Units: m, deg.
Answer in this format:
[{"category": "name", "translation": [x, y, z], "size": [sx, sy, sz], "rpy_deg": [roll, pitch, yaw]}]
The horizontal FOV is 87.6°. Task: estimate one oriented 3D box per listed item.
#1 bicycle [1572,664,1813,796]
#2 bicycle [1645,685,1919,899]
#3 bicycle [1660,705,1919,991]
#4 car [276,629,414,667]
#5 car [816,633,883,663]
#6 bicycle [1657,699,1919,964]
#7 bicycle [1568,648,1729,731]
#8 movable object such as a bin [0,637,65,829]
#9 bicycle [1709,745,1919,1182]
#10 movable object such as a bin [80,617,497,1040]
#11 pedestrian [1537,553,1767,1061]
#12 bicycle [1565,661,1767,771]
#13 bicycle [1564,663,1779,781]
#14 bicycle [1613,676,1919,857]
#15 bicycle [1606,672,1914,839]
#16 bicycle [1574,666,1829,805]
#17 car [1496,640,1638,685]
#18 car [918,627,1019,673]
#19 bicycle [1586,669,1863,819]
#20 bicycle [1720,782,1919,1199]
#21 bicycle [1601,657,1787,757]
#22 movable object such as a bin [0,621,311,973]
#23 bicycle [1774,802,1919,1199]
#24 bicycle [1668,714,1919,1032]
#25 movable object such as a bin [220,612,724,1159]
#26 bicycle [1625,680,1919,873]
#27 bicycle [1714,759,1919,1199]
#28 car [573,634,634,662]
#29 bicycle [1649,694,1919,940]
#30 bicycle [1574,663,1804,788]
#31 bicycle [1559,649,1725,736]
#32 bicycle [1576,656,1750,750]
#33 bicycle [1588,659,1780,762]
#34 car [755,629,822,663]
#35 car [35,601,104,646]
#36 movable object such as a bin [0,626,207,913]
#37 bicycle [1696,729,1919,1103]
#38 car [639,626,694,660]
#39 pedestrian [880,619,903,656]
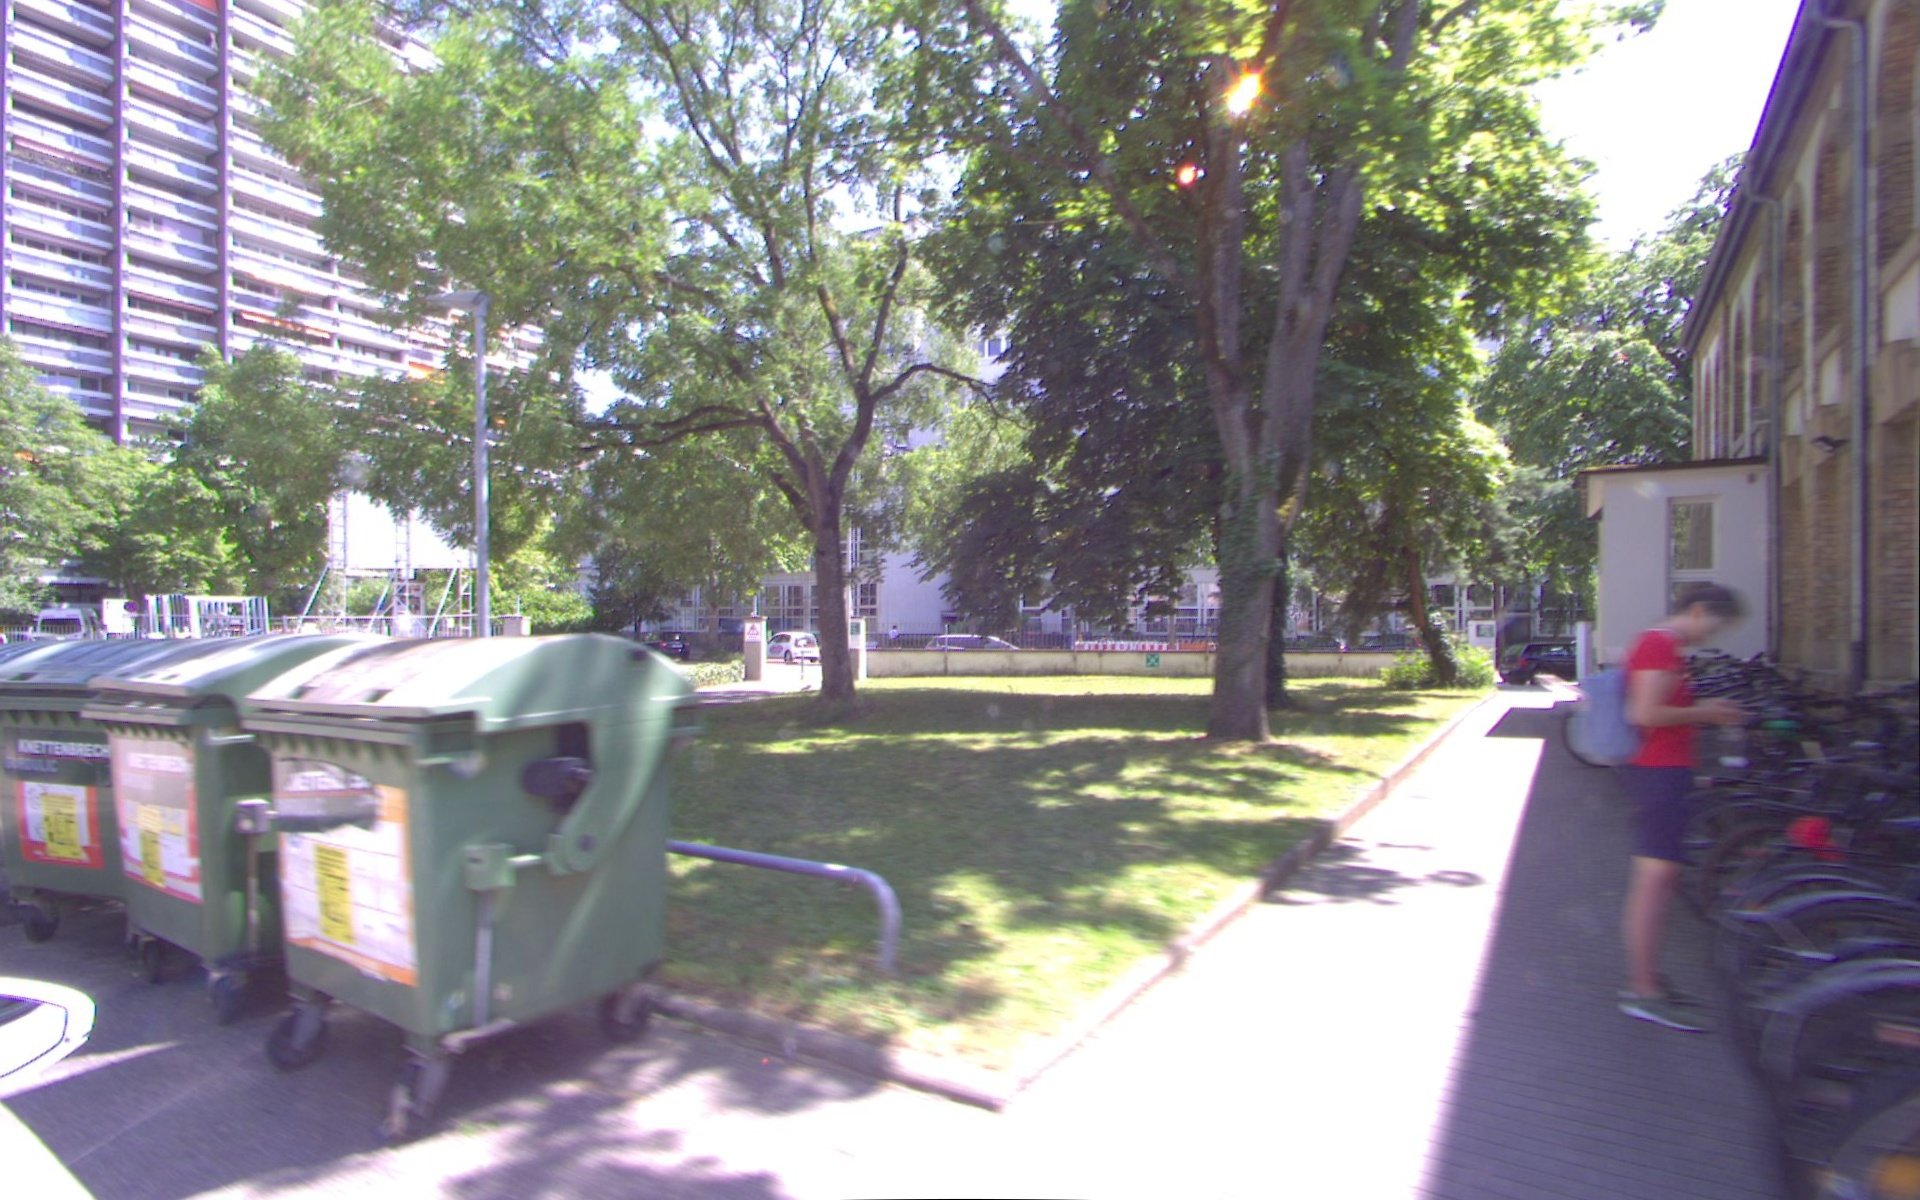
[{"category": "bicycle", "translation": [6.853, 1.186, 9.472], "size": [1.801, 1.116, 0.404], "rpy_deg": [-1, -1, 33]}, {"category": "bicycle", "translation": [5.104, 1.092, 5.847], "size": [1.801, 1.116, 0.404], "rpy_deg": [-1, -1, 33]}, {"category": "bicycle", "translation": [4.100, 1.053, 4.267], "size": [1.801, 1.116, 0.404], "rpy_deg": [-1, -1, 33]}, {"category": "car", "translation": [-24.528, 1.893, 40.010], "size": [4.595, 1.456, 1.674], "rpy_deg": [0, -1, 4]}, {"category": "car", "translation": [-5.513, 2.352, 49.809], "size": [1.650, 1.433, 3.683], "rpy_deg": [1, -2, -38]}, {"category": "bicycle", "translation": [4.343, 1.062, 4.634], "size": [1.801, 1.116, 0.404], "rpy_deg": [-1, -1, 33]}, {"category": "bicycle", "translation": [9.746, 1.287, 14.251], "size": [1.802, 1.115, 0.404], "rpy_deg": [-4, -3, 33]}, {"category": "movable object such as a bin", "translation": [-8.048, 1.041, 7.980], "size": [1.358, 1.477, 1.073], "rpy_deg": [-1, -1, 34]}, {"category": "bicycle", "translation": [3.111, 1.011, 2.622], "size": [1.801, 1.116, 0.404], "rpy_deg": [-1, -1, 33]}, {"category": "movable object such as a bin", "translation": [-2.889, 0.823, 4.334], "size": [1.358, 1.477, 1.073], "rpy_deg": [-1, -1, 34]}, {"category": "pedestrian", "translation": [2.677, 0.734, 3.918], "size": [0.680, 1.771, 0.549], "rpy_deg": [-1, -1, 34]}, {"category": "bicycle", "translation": [7.788, 1.252, 11.143], "size": [1.801, 1.116, 0.404], "rpy_deg": [-1, -1, 33]}, {"category": "bicycle", "translation": [7.388, 1.236, 10.496], "size": [1.801, 1.116, 0.404], "rpy_deg": [-1, -1, 33]}, {"category": "bicycle", "translation": [5.695, 1.124, 7.066], "size": [1.801, 1.116, 0.404], "rpy_deg": [-1, -1, 33]}, {"category": "bicycle", "translation": [6.038, 1.139, 7.689], "size": [1.801, 1.116, 0.404], "rpy_deg": [-1, -1, 33]}, {"category": "bicycle", "translation": [6.589, 1.174, 9.006], "size": [1.801, 1.116, 0.404], "rpy_deg": [-1, -1, 33]}, {"category": "car", "translation": [19.203, 1.971, 31.799], "size": [3.461, 1.359, 1.654], "rpy_deg": [0, -1, 6]}, {"category": "car", "translation": [0.313, 1.658, 33.429], "size": [3.267, 1.498, 1.433], "rpy_deg": [0, -1, 4]}, {"category": "bicycle", "translation": [6.328, 1.158, 8.408], "size": [1.801, 1.116, 0.404], "rpy_deg": [-1, -1, 33]}, {"category": "bicycle", "translation": [2.557, 0.992, 1.847], "size": [1.801, 1.116, 0.404], "rpy_deg": [-1, -1, 33]}, {"category": "bicycle", "translation": [8.915, 1.277, 12.252], "size": [1.801, 1.116, 0.404], "rpy_deg": [-1, -1, 33]}, {"category": "movable object such as a bin", "translation": [-4.163, 0.849, 5.035], "size": [1.358, 1.477, 1.073], "rpy_deg": [-1, -1, 34]}, {"category": "bicycle", "translation": [2.350, 0.958, 1.423], "size": [1.801, 1.116, 0.404], "rpy_deg": [-1, -1, 33]}, {"category": "bicycle", "translation": [3.796, 1.041, 3.783], "size": [1.801, 1.116, 0.404], "rpy_deg": [-1, -1, 33]}, {"category": "movable object such as a bin", "translation": [-1.708, 0.795, 3.539], "size": [1.358, 1.477, 1.073], "rpy_deg": [-1, -1, 34]}, {"category": "bicycle", "translation": [5.442, 1.110, 6.549], "size": [1.801, 1.116, 0.404], "rpy_deg": [-1, -1, 33]}, {"category": "bicycle", "translation": [2.858, 1.003, 2.265], "size": [1.801, 1.116, 0.404], "rpy_deg": [-1, -1, 33]}, {"category": "car", "translation": [-18.026, 2.382, 50.518], "size": [1.896, 1.327, 3.904], "rpy_deg": [1, -2, -36]}, {"category": "bicycle", "translation": [4.566, 1.072, 5.025], "size": [1.801, 1.116, 0.404], "rpy_deg": [-1, -1, 33]}, {"category": "bicycle", "translation": [7.138, 1.196, 9.907], "size": [1.801, 1.116, 0.404], "rpy_deg": [-1, -1, 33]}, {"category": "bicycle", "translation": [9.266, 1.273, 13.683], "size": [1.802, 1.115, 0.404], "rpy_deg": [-4, -3, 33]}, {"category": "bicycle", "translation": [9.004, 1.295, 12.899], "size": [1.801, 1.116, 0.404], "rpy_deg": [-1, -1, 33]}, {"category": "bicycle", "translation": [8.461, 1.267, 11.791], "size": [1.801, 1.116, 0.404], "rpy_deg": [-1, -1, 33]}, {"category": "car", "translation": [-8.664, 2.295, 50.334], "size": [1.652, 1.610, 3.659], "rpy_deg": [1, -2, -42]}, {"category": "car", "translation": [-46.611, 1.246, 52.516], "size": [2.164, 2.287, 4.836], "rpy_deg": [0, -2, -35]}, {"category": "movable object such as a bin", "translation": [-5.307, 0.893, 5.849], "size": [1.358, 1.477, 1.073], "rpy_deg": [-1, -1, 34]}, {"category": "bicycle", "translation": [3.441, 1.024, 3.133], "size": [1.801, 1.116, 0.404], "rpy_deg": [-1, -1, 33]}, {"category": "car", "translation": [-14.889, 2.144, 50.686], "size": [1.987, 1.650, 3.914], "rpy_deg": [0, -2, -27]}, {"category": "pedestrian", "translation": [-3.830, 2.095, 56.124], "size": [0.986, 2.040, 0.869], "rpy_deg": [0, -1, -42]}]
